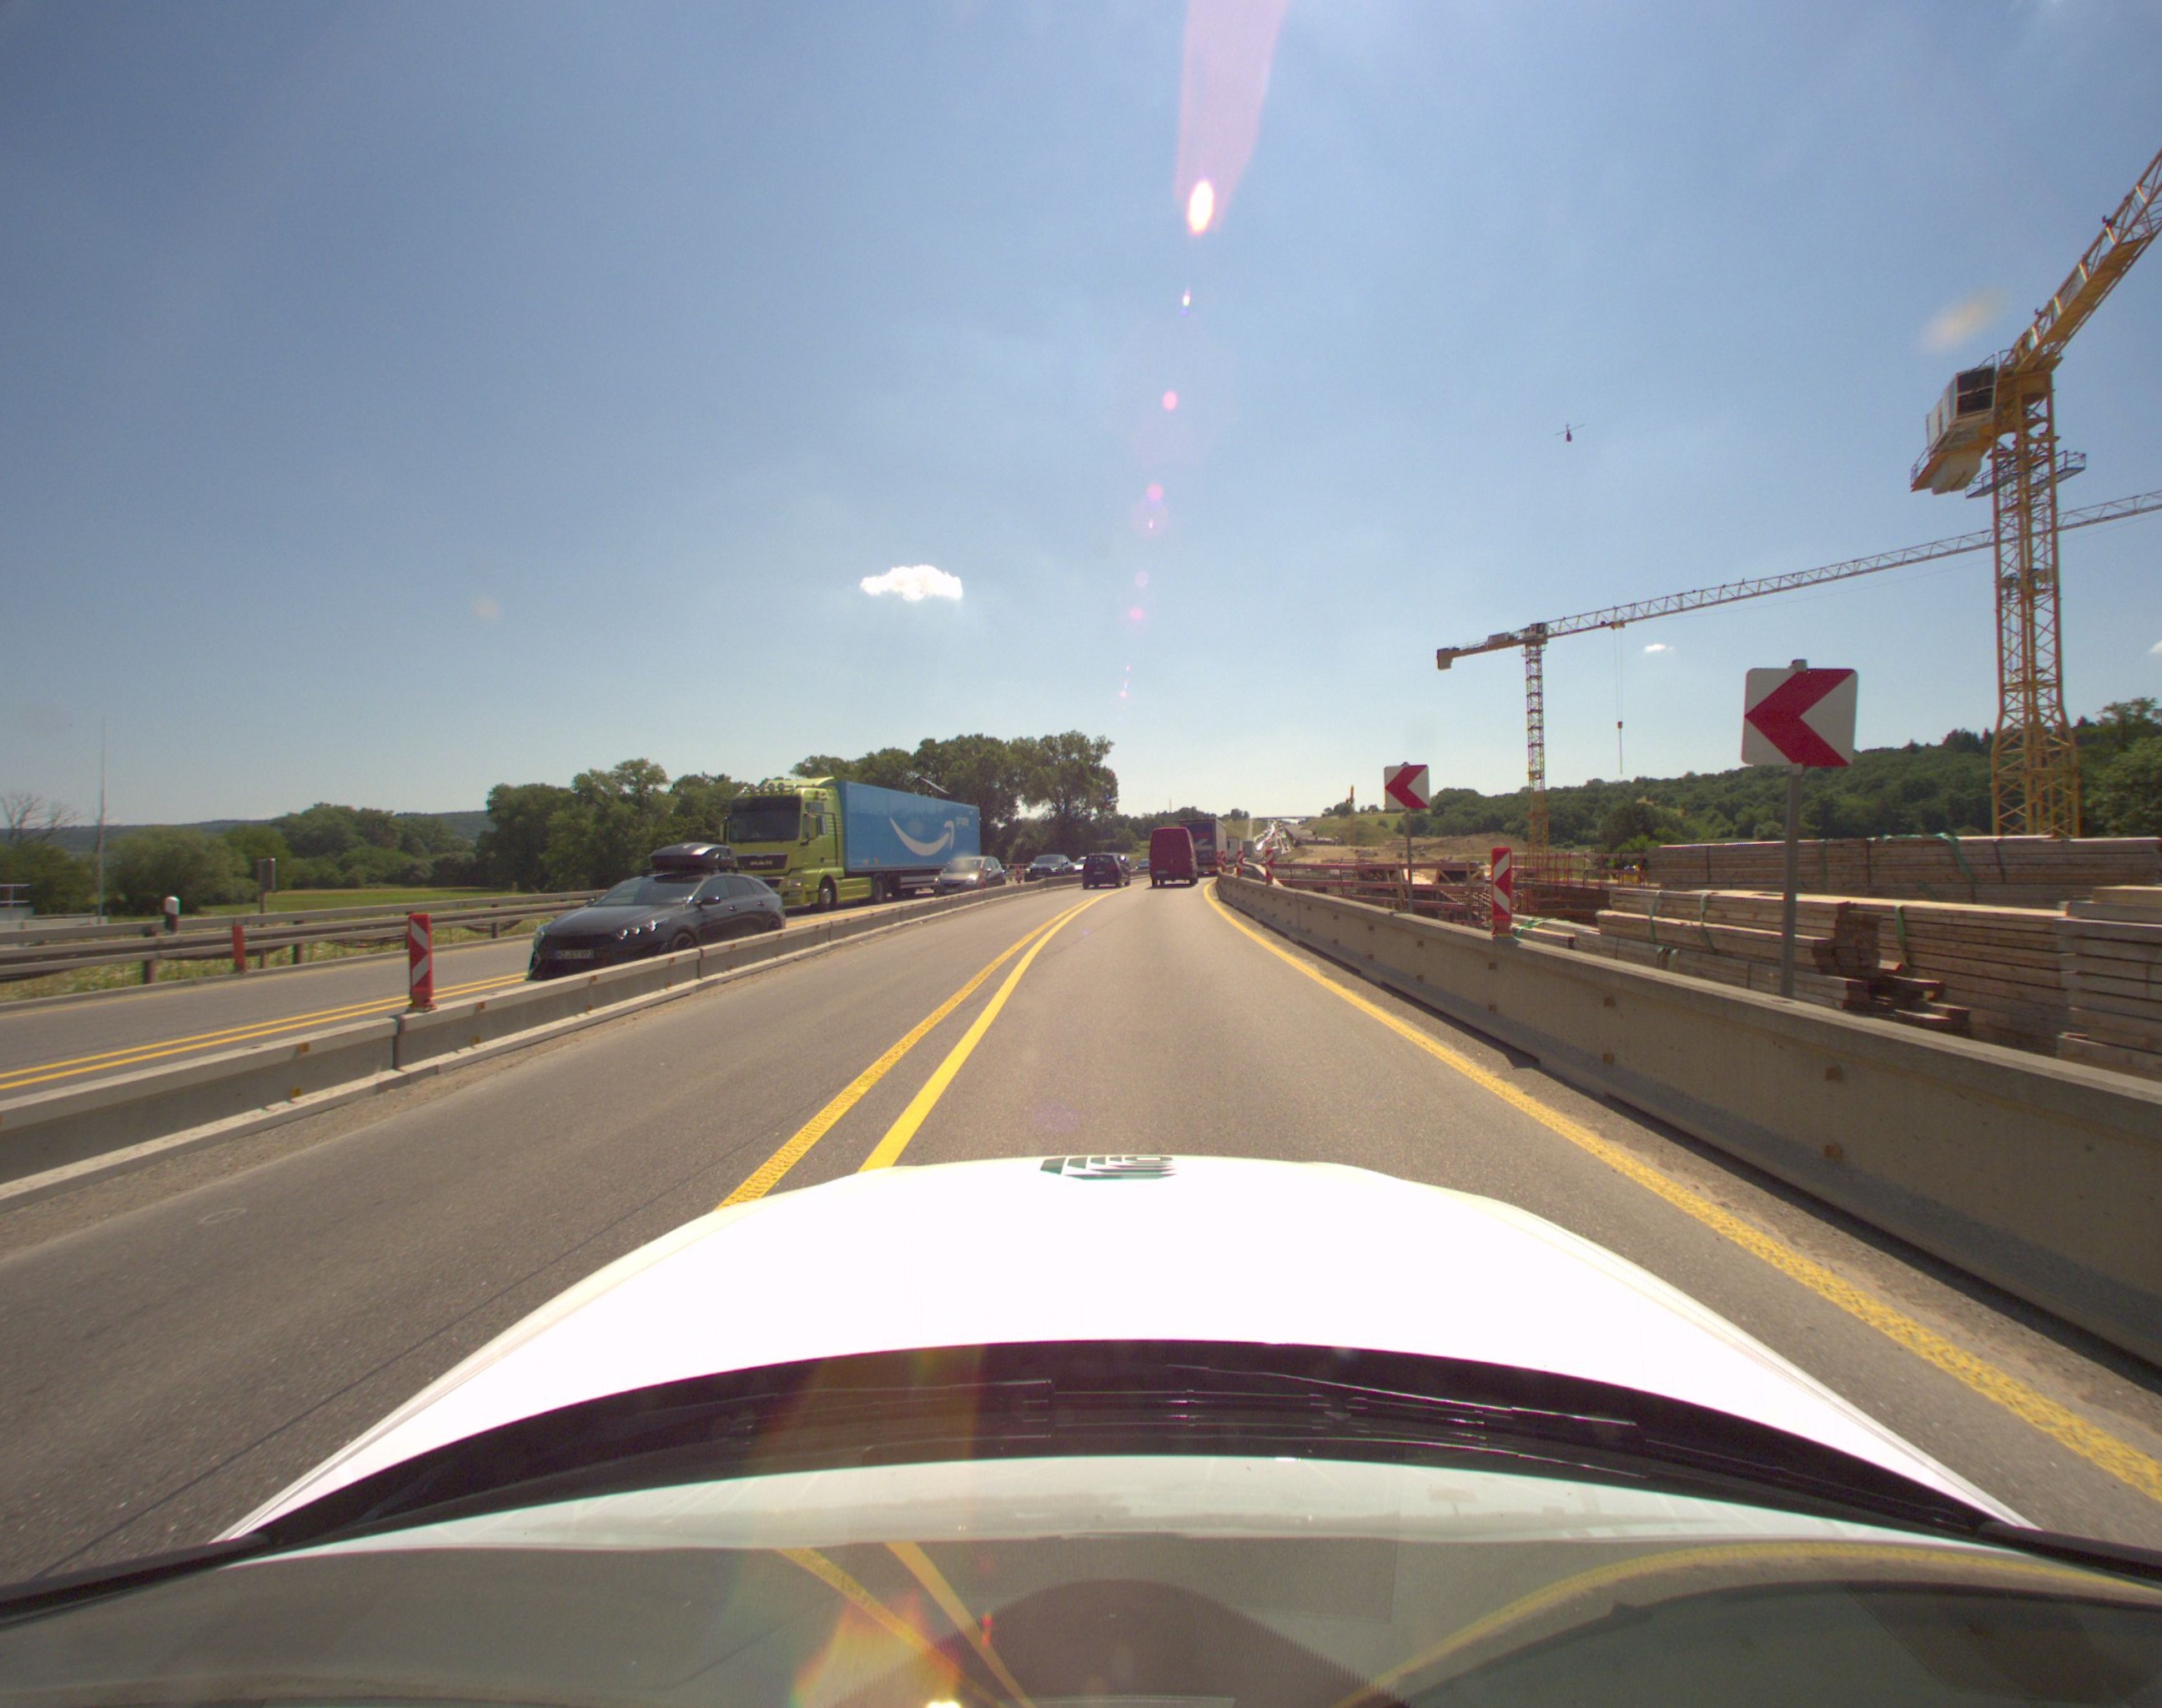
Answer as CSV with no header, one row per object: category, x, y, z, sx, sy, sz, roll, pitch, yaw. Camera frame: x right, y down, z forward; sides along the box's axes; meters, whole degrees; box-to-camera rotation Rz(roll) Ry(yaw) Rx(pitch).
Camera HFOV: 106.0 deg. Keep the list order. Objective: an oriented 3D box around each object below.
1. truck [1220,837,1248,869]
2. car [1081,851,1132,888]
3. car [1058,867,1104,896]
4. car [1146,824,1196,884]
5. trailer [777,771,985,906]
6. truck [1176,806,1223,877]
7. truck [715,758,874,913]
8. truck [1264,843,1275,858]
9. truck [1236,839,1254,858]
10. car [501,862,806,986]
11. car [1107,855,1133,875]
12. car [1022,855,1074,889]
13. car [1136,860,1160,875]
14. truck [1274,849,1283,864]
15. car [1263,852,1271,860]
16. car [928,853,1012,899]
truck,20.340,-0.126,107.988,3.160,3.990,6.765,-2,-1,13
car,1.279,0.718,39.192,1.723,1.635,4.403,-1,0,11
car,0.063,1.778,53.528,1.807,1.647,4.589,-1,1,15
car,4.272,0.106,38.432,2.138,2.611,5.448,-1,-2,7
trailer,-7.208,-0.354,32.612,2.630,4.293,13.348,0,-1,11
truck,8.895,-0.840,60.620,2.925,4.946,6.762,-2,-1,11
truck,-8.578,-0.460,25.011,2.610,4.271,4.743,0,-1,9
truck,43.722,-0.825,188.996,2.276,3.196,6.503,-2,-1,12
truck,32.680,-1.032,161.774,3.162,2.978,8.927,-2,-4,13
car,-5.965,0.873,12.147,1.812,1.435,4.589,-1,0,5
car,4.081,1.107,84.551,1.808,1.943,5.080,-1,-1,12
car,-1.683,0.885,43.127,1.870,1.647,4.726,-1,0,8
car,6.337,1.226,76.700,1.657,1.365,4.455,-1,-1,12
truck,56.572,0.667,233.283,2.275,3.740,6.502,-2,-4,13
car,38.675,0.417,169.133,1.606,1.700,3.903,-1,-1,12
car,-3.987,0.792,30.016,1.809,1.585,4.312,0,-1,10
